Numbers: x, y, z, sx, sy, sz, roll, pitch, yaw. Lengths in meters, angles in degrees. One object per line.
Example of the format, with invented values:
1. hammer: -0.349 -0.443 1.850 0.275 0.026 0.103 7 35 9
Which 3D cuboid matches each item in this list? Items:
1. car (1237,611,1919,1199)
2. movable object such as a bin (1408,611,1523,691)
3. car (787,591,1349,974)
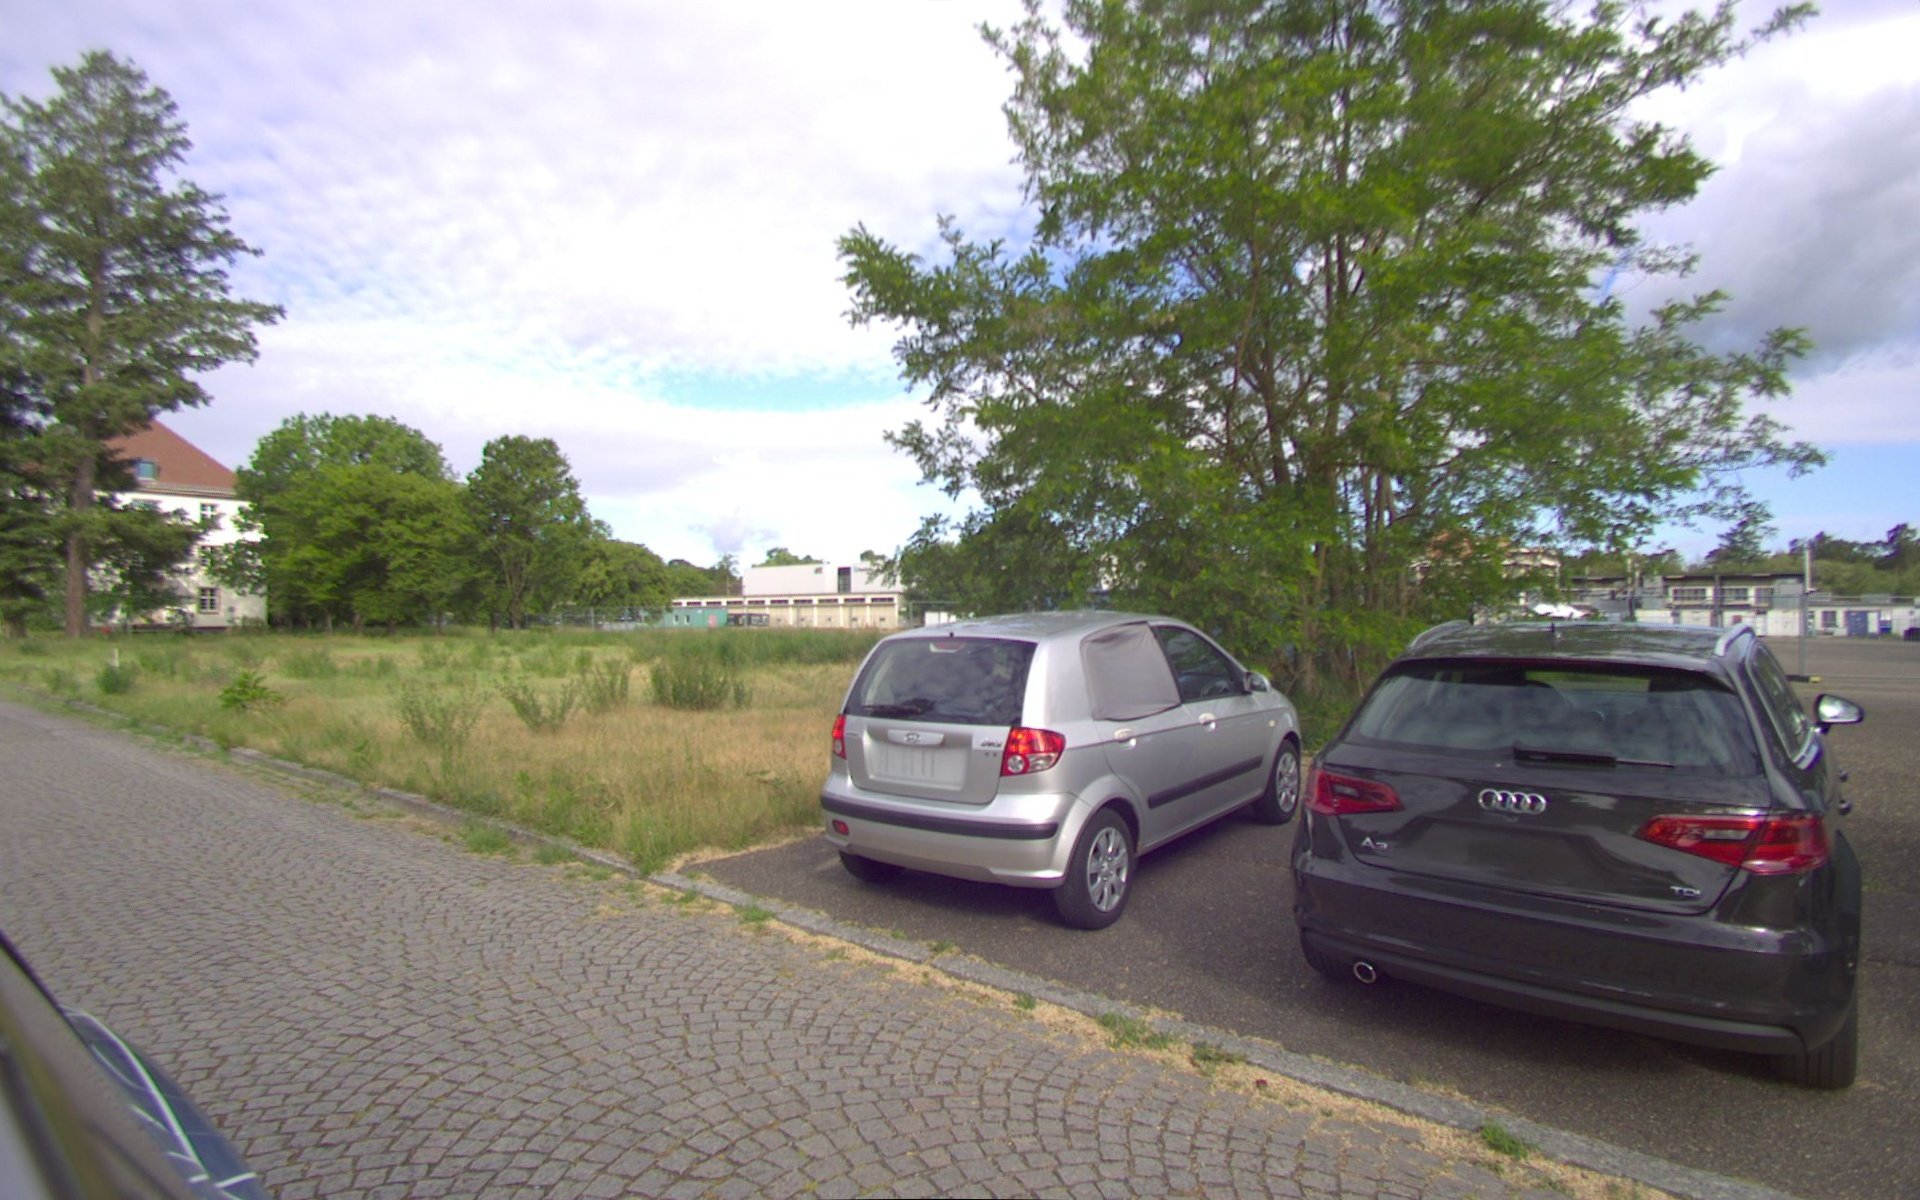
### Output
1. car: 3.104 0.800 4.740 1.882 1.433 4.575 -1 -2 38
2. movable object such as a bin: 8.511 0.813 16.982 1.169 1.221 2.505 -1 -1 40
3. car: 0.972 0.762 6.310 1.678 1.467 3.938 -1 2 37
